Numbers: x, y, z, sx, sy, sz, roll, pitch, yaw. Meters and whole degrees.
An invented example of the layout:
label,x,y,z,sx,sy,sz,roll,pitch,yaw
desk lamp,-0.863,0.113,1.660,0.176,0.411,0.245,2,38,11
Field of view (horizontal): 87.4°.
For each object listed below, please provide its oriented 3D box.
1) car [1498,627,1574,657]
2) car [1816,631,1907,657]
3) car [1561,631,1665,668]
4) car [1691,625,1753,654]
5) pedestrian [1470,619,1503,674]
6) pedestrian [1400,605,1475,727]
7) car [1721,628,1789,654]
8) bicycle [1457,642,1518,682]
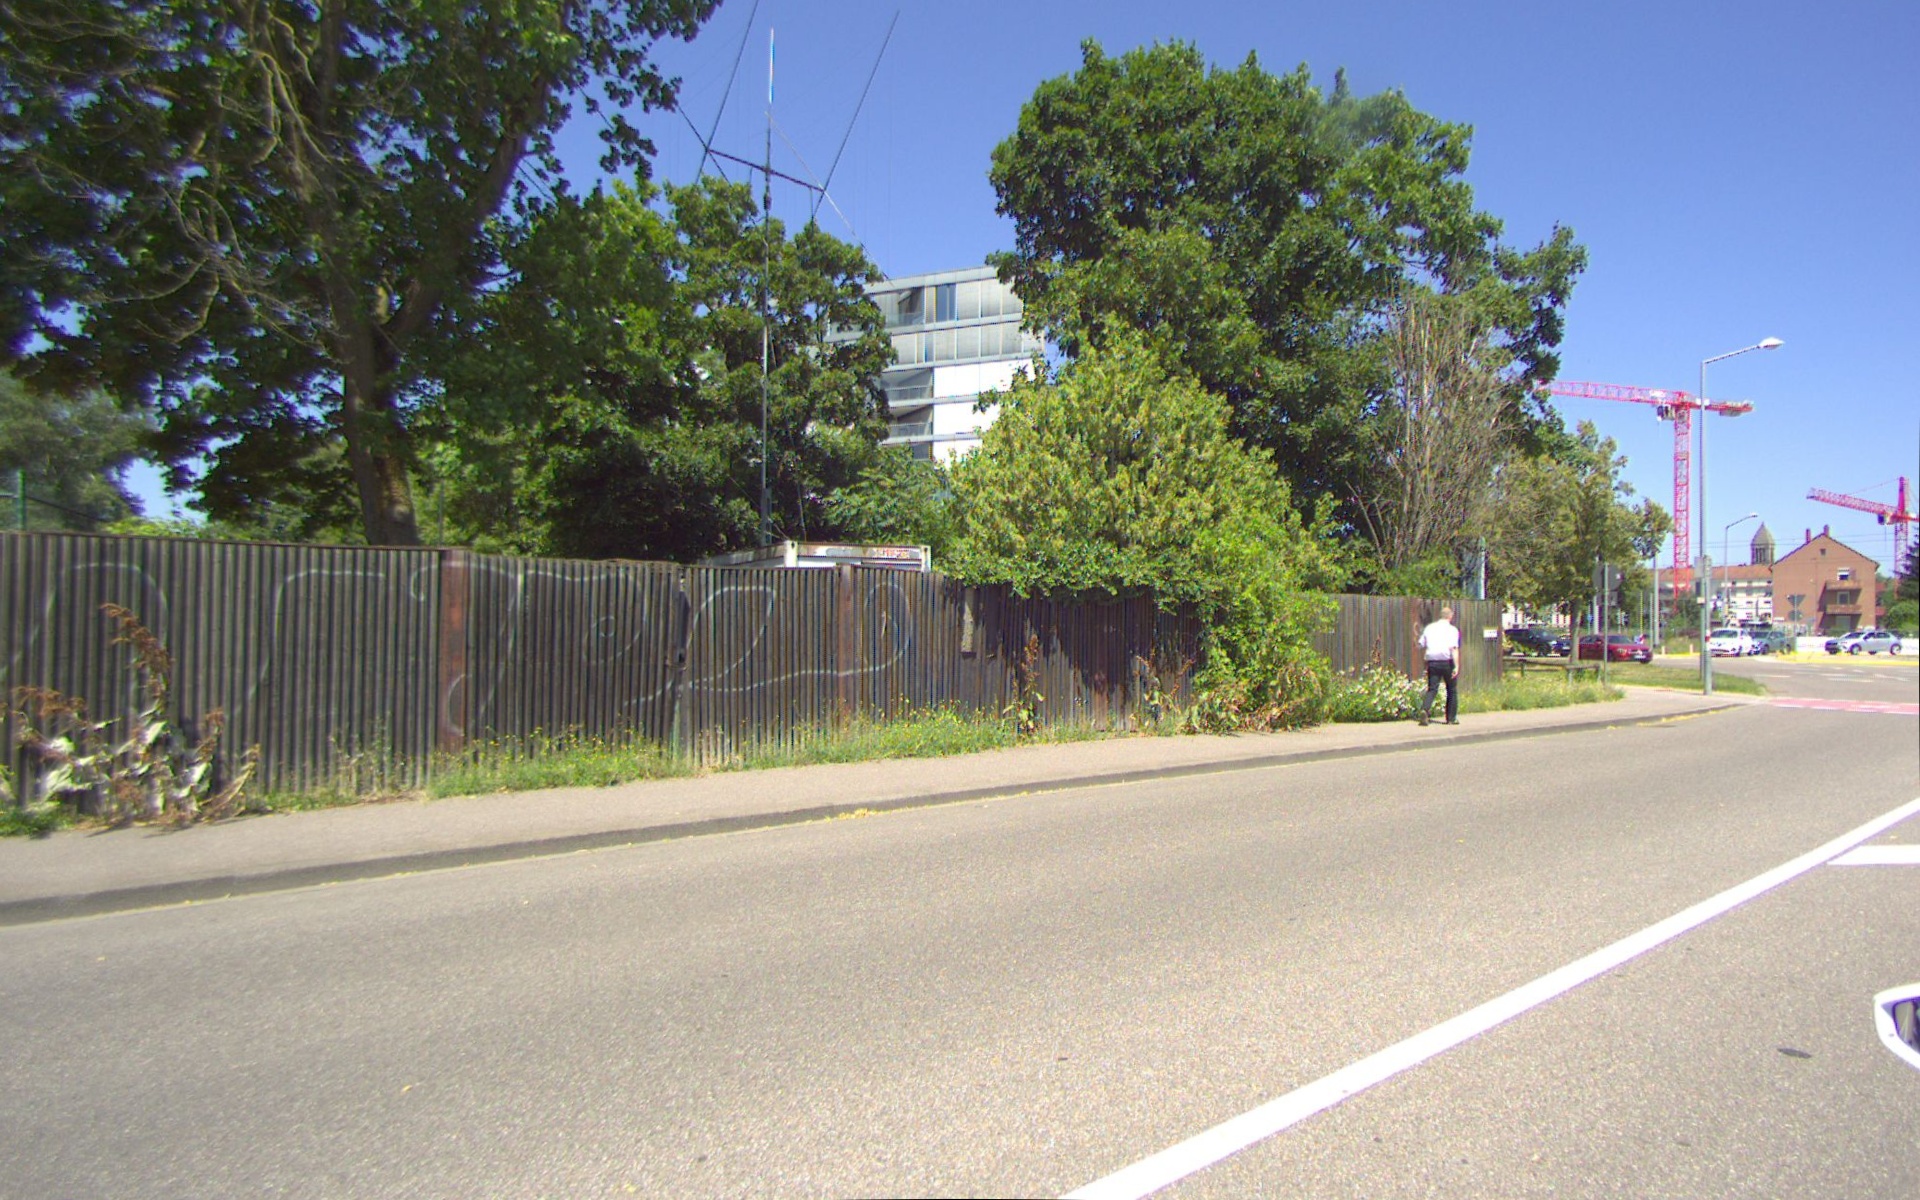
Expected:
label,x,y,z,sx,sy,sz,roll,pitch,yaw
car,35.156,2.523,61.461,1.961,1.617,4.418,2,0,-2
car,55.739,2.688,62.163,4.188,1.421,1.732,2,0,-3
car,31.370,2.345,48.432,1.961,1.547,4.418,2,0,-2
car,42.037,2.140,55.416,3.837,1.547,1.763,1,-2,-37
pedestrian,16.902,1.481,32.245,0.566,1.714,0.731,2,0,-20
pedestrian,7.385,0.995,15.526,0.960,1.810,0.631,2,0,-36
car,46.733,2.400,59.020,4.282,1.390,1.737,2,0,-31
bicycle,16.898,1.966,32.234,0.604,1.247,1.841,2,-3,-19
